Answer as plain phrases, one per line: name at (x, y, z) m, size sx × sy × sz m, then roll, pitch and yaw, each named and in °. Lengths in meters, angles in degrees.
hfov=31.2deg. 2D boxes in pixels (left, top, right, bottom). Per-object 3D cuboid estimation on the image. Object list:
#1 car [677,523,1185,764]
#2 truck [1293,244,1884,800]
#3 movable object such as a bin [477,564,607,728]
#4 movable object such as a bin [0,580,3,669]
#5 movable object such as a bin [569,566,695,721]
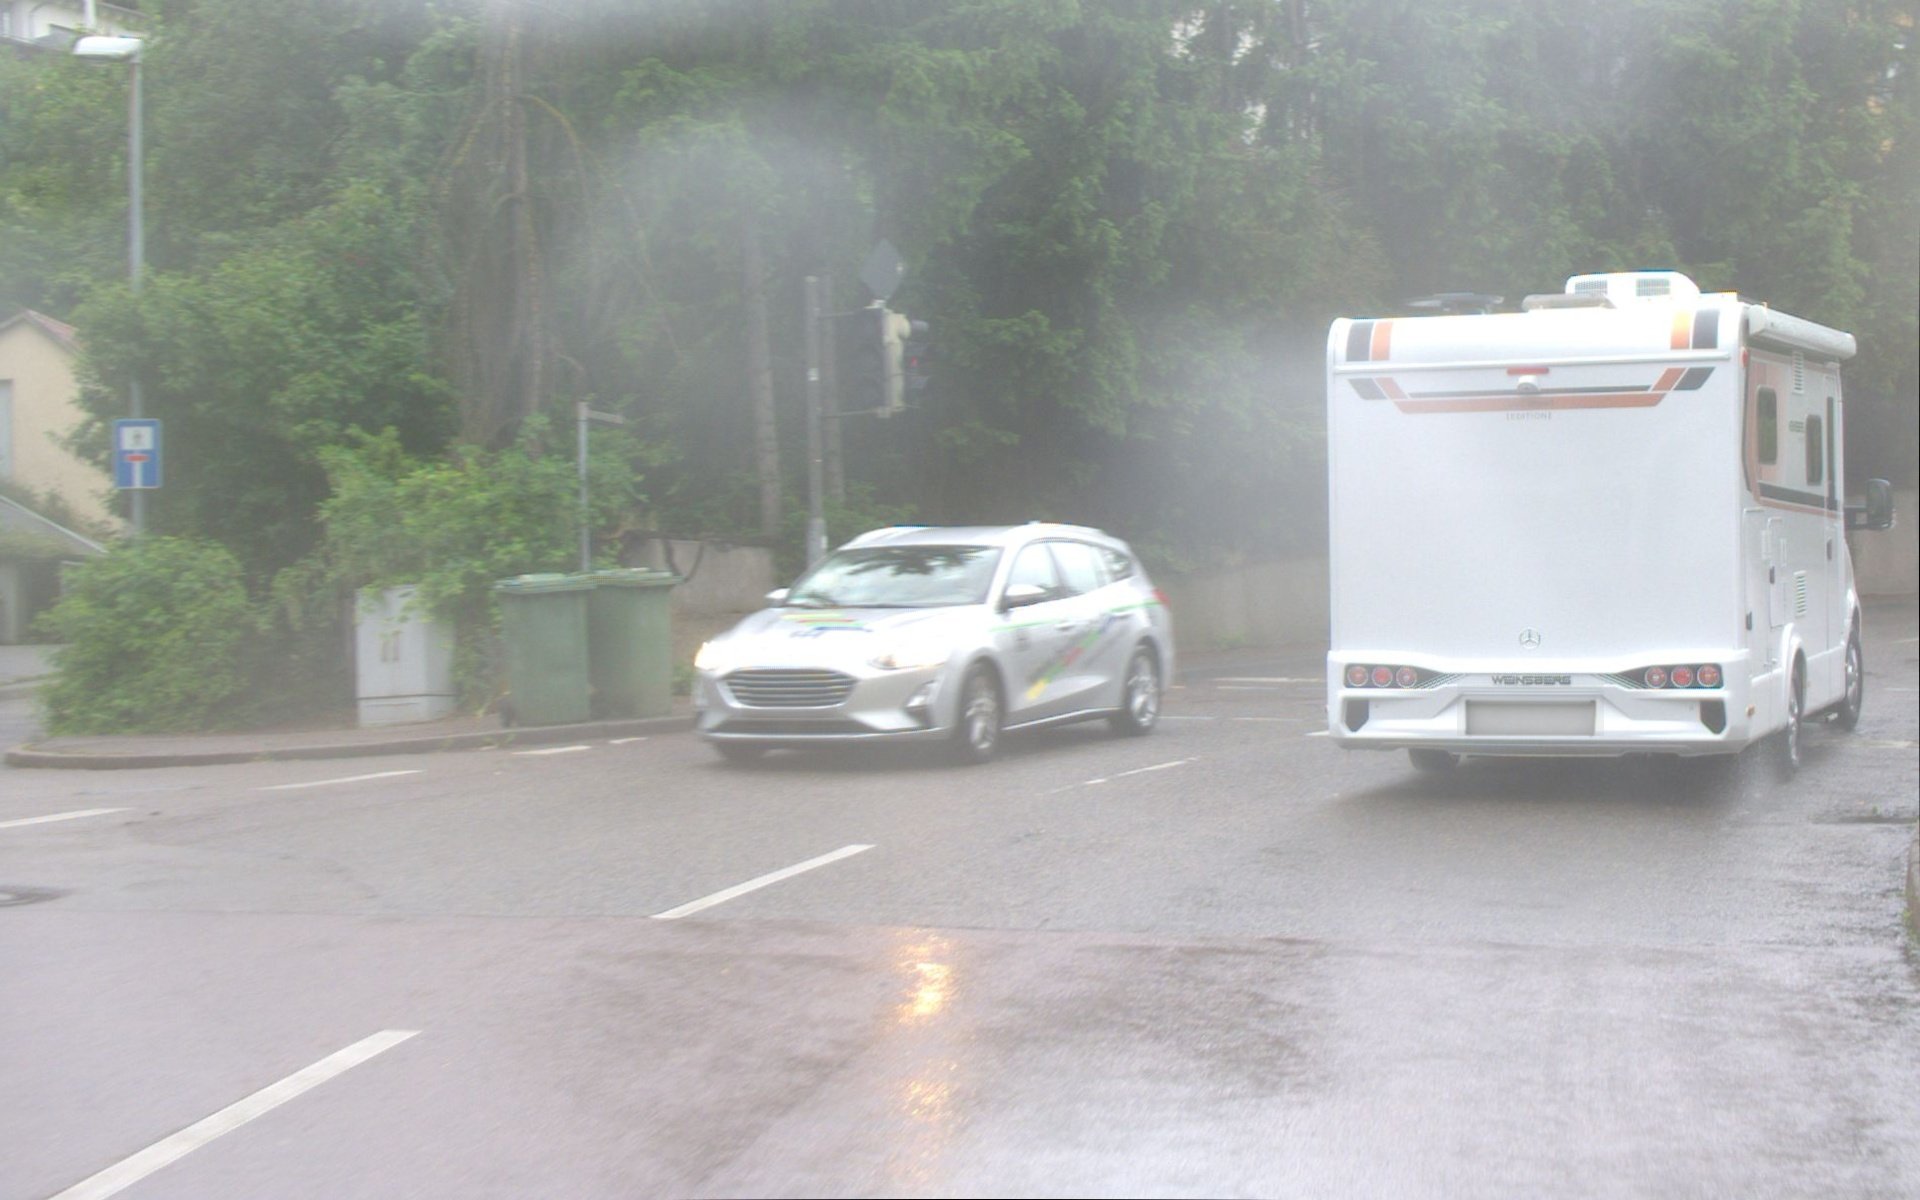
car at (-0.074, 0.211, 22.348) m, size 1.597 × 1.408 × 4.231 m, roll 1°, pitch 1°, yaw 26°
truck at (3.999, -0.437, 20.708) m, size 2.518 × 2.808 × 6.195 m, roll 1°, pitch 1°, yaw 20°
movable object such as a bin at (-2.956, 0.314, 24.299) m, size 0.666 × 1.135 × 0.625 m, roll 0°, pitch 1°, yaw -42°
movable object such as a bin at (-13.425, 0.333, 46.571) m, size 0.705 × 1.218 × 0.590 m, roll 0°, pitch 1°, yaw 8°
movable object such as a bin at (-2.359, 0.304, 24.707) m, size 0.704 × 1.084 × 0.560 m, roll 0°, pitch 1°, yaw -42°
